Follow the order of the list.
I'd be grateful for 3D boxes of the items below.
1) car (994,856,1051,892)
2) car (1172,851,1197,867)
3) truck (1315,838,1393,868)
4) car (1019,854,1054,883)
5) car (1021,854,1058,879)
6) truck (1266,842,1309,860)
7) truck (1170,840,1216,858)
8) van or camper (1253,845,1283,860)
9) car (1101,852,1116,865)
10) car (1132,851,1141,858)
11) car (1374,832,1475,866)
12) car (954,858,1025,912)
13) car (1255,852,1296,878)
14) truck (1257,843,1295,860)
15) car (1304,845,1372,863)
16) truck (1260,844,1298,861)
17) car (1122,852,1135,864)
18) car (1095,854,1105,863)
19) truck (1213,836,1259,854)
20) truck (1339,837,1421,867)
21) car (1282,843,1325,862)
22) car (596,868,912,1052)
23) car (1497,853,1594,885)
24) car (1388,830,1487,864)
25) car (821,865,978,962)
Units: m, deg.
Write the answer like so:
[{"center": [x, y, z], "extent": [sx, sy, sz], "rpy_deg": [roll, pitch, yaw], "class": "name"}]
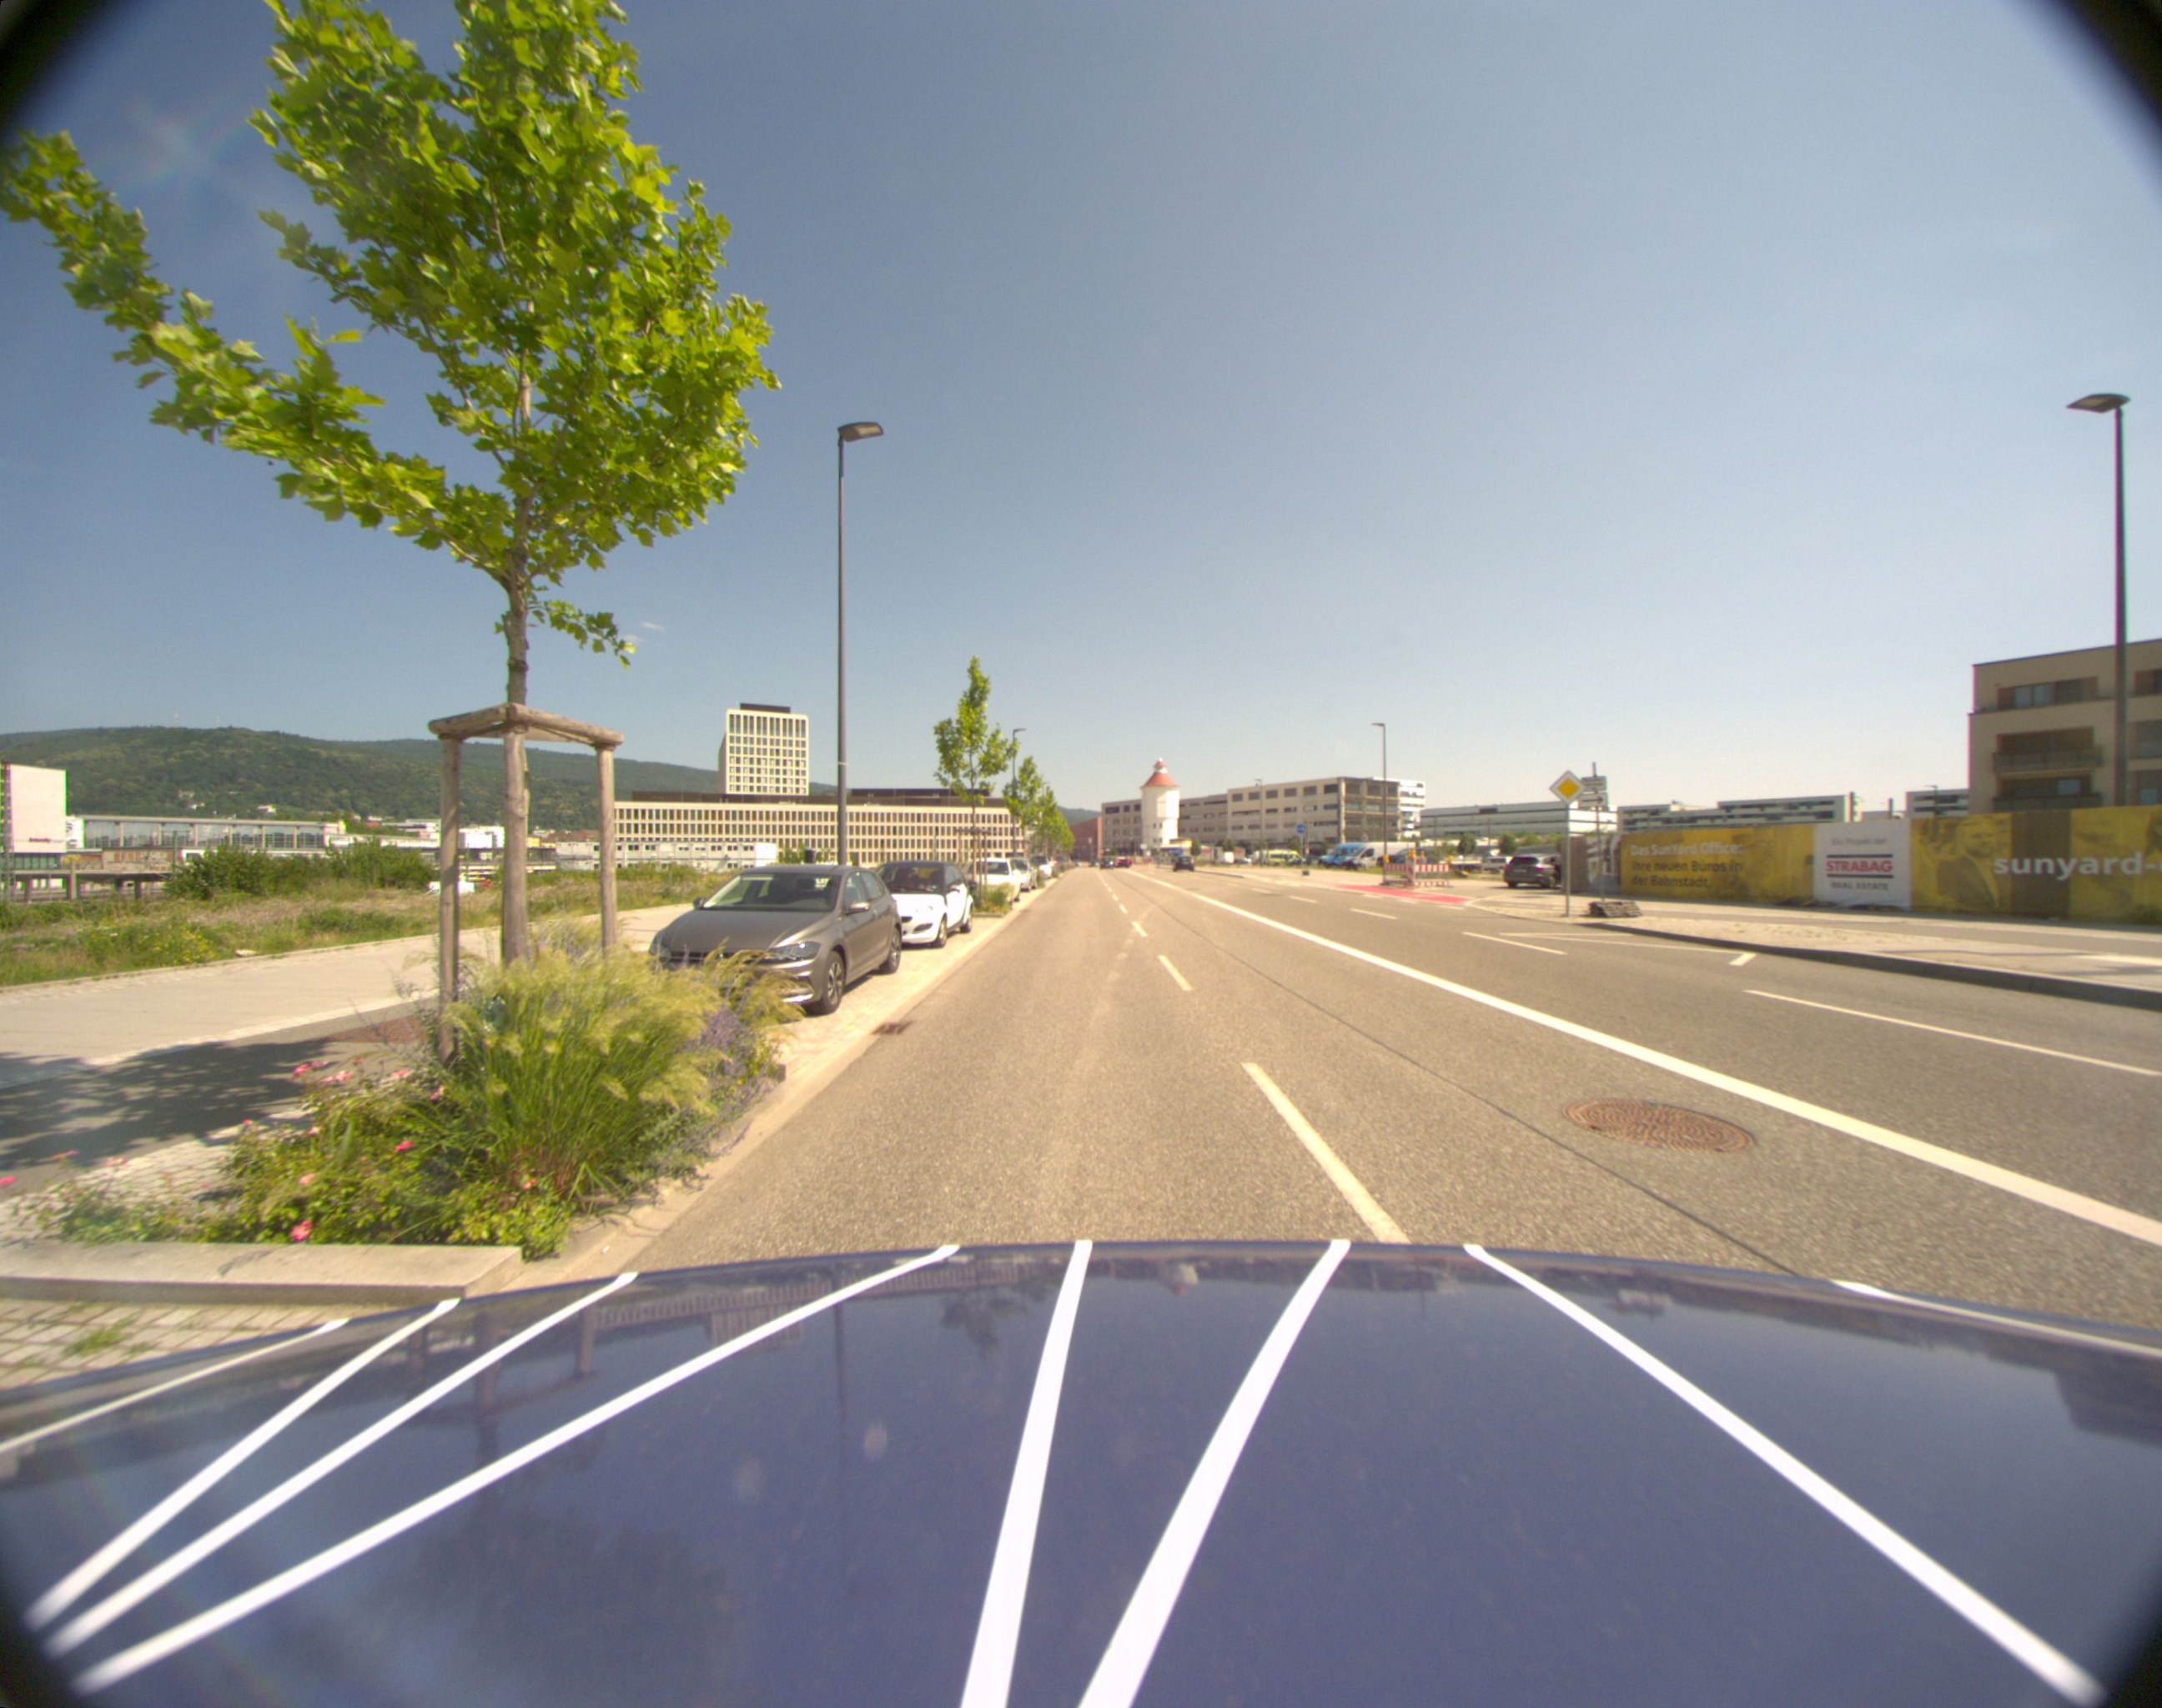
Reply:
[{"center": [-2.497, 0.820, 33.442], "extent": [1.913, 1.470, 4.158], "rpy_deg": [0, 0, 3], "class": "car"}, {"center": [9.190, 0.450, 67.765], "extent": [1.708, 1.344, 4.455], "rpy_deg": [0, 1, 0], "class": "car"}, {"center": [23.982, -0.088, 66.916], "extent": [6.019, 2.528, 2.275], "rpy_deg": [0, 0, 1], "class": "truck"}, {"center": [-2.477, 0.775, 42.445], "extent": [1.794, 1.468, 4.371], "rpy_deg": [-2, 0, -3], "class": "car"}, {"center": [-2.695, 0.811, 50.082], "extent": [1.913, 1.568, 4.158], "rpy_deg": [0, 0, 3], "class": "car"}, {"center": [35.550, -0.467, 131.103], "extent": [6.654, 2.809, 2.602], "rpy_deg": [-2, 0, -2], "class": "truck"}, {"center": [27.950, -1.268, 189.423], "extent": [10.988, 4.044, 3.297], "rpy_deg": [-2, 2, -17], "class": "truck"}, {"center": [35.225, -0.294, 143.270], "extent": [4.912, 2.646, 2.260], "rpy_deg": [-2, 0, 0], "class": "van or camper"}, {"center": [3.491, 0.577, 96.735], "extent": [1.783, 1.552, 3.831], "rpy_deg": [0, 0, 0], "class": "car"}, {"center": [12.020, 0.134, 165.668], "extent": [1.906, 1.618, 4.389], "rpy_deg": [0, 0, 5], "class": "car"}, {"center": [23.583, -0.316, 52.421], "extent": [5.894, 2.153, 2.397], "rpy_deg": [-1, 0, 7], "class": "car"}, {"center": [-2.800, 0.914, 24.127], "extent": [1.750, 1.500, 4.001], "rpy_deg": [-2, 0, 0], "class": "car"}, {"center": [11.903, 0.631, 46.727], "extent": [1.611, 1.468, 3.678], "rpy_deg": [1, 1, 2], "class": "car"}, {"center": [35.667, -0.453, 139.164], "extent": [6.160, 2.885, 2.570], "rpy_deg": [-2, 2, 1], "class": "truck"}, {"center": [23.846, 0.013, 70.638], "extent": [5.666, 1.465, 2.107], "rpy_deg": [-2, 0, -2], "class": "car"}, {"center": [34.953, -0.282, 134.255], "extent": [5.850, 2.808, 2.570], "rpy_deg": [-2, 2, 0], "class": "truck"}, {"center": [7.155, 0.607, 114.648], "extent": [1.918, 1.640, 4.731], "rpy_deg": [-2, 0, 2], "class": "car"}, {"center": [3.770, 0.884, 148.899], "extent": [1.783, 1.552, 3.832], "rpy_deg": [-2, 0, 2], "class": "car"}, {"center": [39.147, -2.254, 192.240], "extent": [10.951, 4.251, 3.341], "rpy_deg": [-2, 2, -11], "class": "truck"}, {"center": [23.502, -0.173, 59.865], "extent": [5.581, 2.349, 2.275], "rpy_deg": [0, 0, -1], "class": "truck"}, {"center": [22.541, -0.101, 77.027], "extent": [3.994, 1.892, 1.828], "rpy_deg": [0, 0, 8], "class": "car"}, {"center": [-3.223, 0.943, 8.444], "extent": [1.708, 1.454, 3.954], "rpy_deg": [-2, 0, 1], "class": "car"}, {"center": [20.007, 0.601, 32.654], "extent": [4.255, 1.310, 1.995], "rpy_deg": [0, 0, -35], "class": "car"}, {"center": [23.762, -0.449, 50.789], "extent": [5.458, 2.160, 2.394], "rpy_deg": [0, 0, -3], "class": "car"}, {"center": [-3.114, 0.958, 13.904], "extent": [1.708, 1.454, 4.085], "rpy_deg": [0, 0, 3], "class": "car"}]
